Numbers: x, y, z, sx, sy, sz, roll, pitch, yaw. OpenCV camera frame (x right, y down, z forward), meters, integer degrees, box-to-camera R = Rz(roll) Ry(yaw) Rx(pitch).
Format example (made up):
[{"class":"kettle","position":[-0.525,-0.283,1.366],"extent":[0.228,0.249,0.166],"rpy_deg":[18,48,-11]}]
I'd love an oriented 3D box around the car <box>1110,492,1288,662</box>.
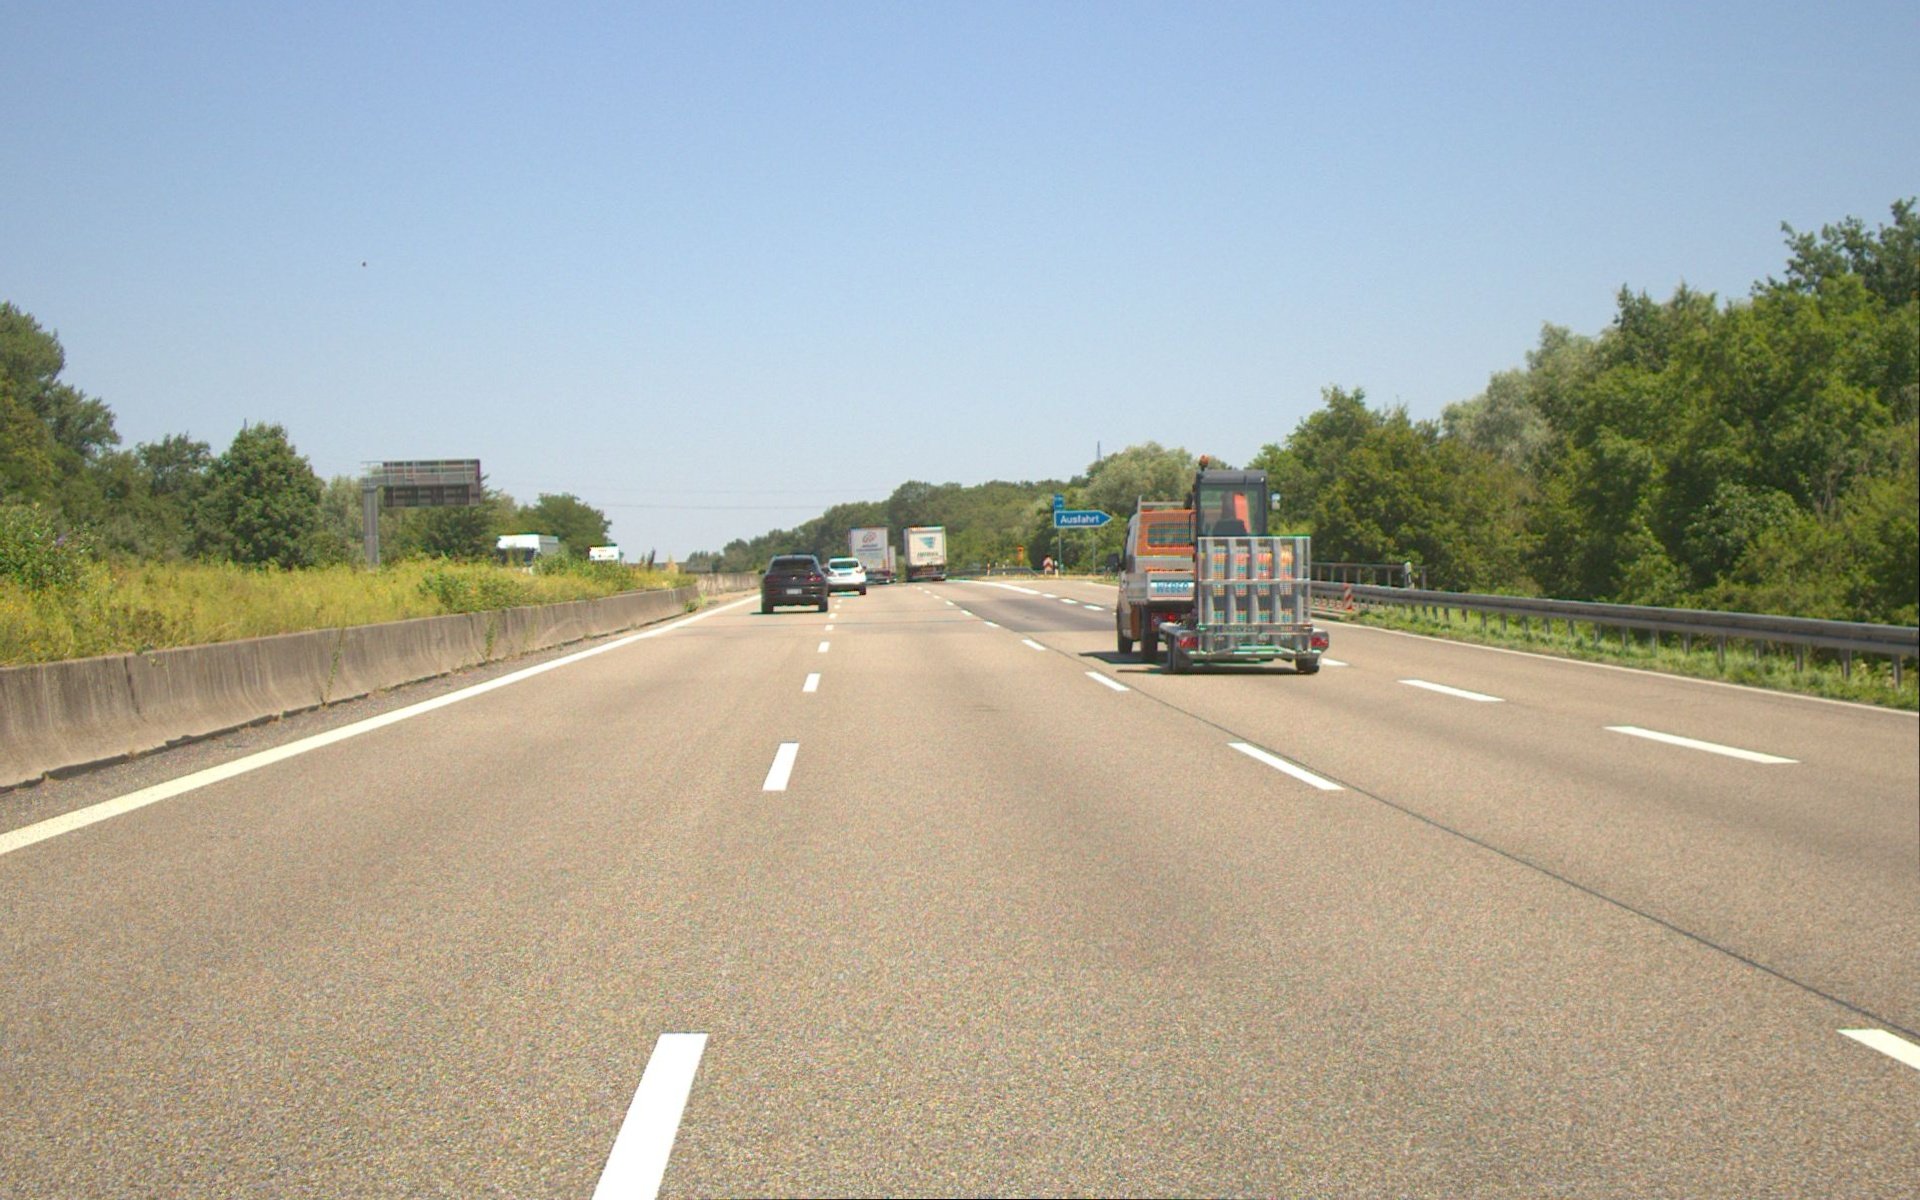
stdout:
[{"class":"car","position":[3.620,-0.374,53.434],"extent":[1.993,2.397,7.227],"rpy_deg":[-2,1,-2]}]

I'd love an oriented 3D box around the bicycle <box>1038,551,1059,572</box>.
[{"class":"bicycle","position":[4.997,-2.155,194.264],"extent":[0.960,1.153,2.606],"rpy_deg":[1,1,7]}]

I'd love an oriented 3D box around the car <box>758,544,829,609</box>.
[{"class":"car","position":[-5.029,-0.724,104.284],"extent":[1.993,1.868,4.000],"rpy_deg":[-2,1,-2]}]

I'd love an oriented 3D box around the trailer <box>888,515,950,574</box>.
[{"class":"trailer","position":[-2.988,-3.954,246.288],"extent":[3.367,4.128,9.093],"rpy_deg":[1,1,-7]}]

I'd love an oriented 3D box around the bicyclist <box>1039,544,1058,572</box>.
[{"class":"bicyclist","position":[5.001,-2.366,194.258],"extent":[0.960,1.590,0.807],"rpy_deg":[1,0,7]}]

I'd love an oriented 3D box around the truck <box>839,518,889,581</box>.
[{"class":"truck","position":[-6.485,-3.391,231.300],"extent":[3.229,4.188,8.467],"rpy_deg":[0,1,-3]}]

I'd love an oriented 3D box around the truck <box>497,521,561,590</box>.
[{"class":"truck","position":[-26.478,-2.777,211.387],"extent":[2.984,4.062,8.194],"rpy_deg":[-2,1,-2]}]

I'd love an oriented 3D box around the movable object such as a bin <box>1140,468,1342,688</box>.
[{"class":"movable object such as a bin","position":[3.809,-0.316,47.374],"extent":[2.174,2.806,4.761],"rpy_deg":[-2,1,-2]}]

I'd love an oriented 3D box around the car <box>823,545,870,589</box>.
[{"class":"car","position":[-4.978,-1.434,150.874],"extent":[1.993,1.868,4.000],"rpy_deg":[-1,1,-2]}]
